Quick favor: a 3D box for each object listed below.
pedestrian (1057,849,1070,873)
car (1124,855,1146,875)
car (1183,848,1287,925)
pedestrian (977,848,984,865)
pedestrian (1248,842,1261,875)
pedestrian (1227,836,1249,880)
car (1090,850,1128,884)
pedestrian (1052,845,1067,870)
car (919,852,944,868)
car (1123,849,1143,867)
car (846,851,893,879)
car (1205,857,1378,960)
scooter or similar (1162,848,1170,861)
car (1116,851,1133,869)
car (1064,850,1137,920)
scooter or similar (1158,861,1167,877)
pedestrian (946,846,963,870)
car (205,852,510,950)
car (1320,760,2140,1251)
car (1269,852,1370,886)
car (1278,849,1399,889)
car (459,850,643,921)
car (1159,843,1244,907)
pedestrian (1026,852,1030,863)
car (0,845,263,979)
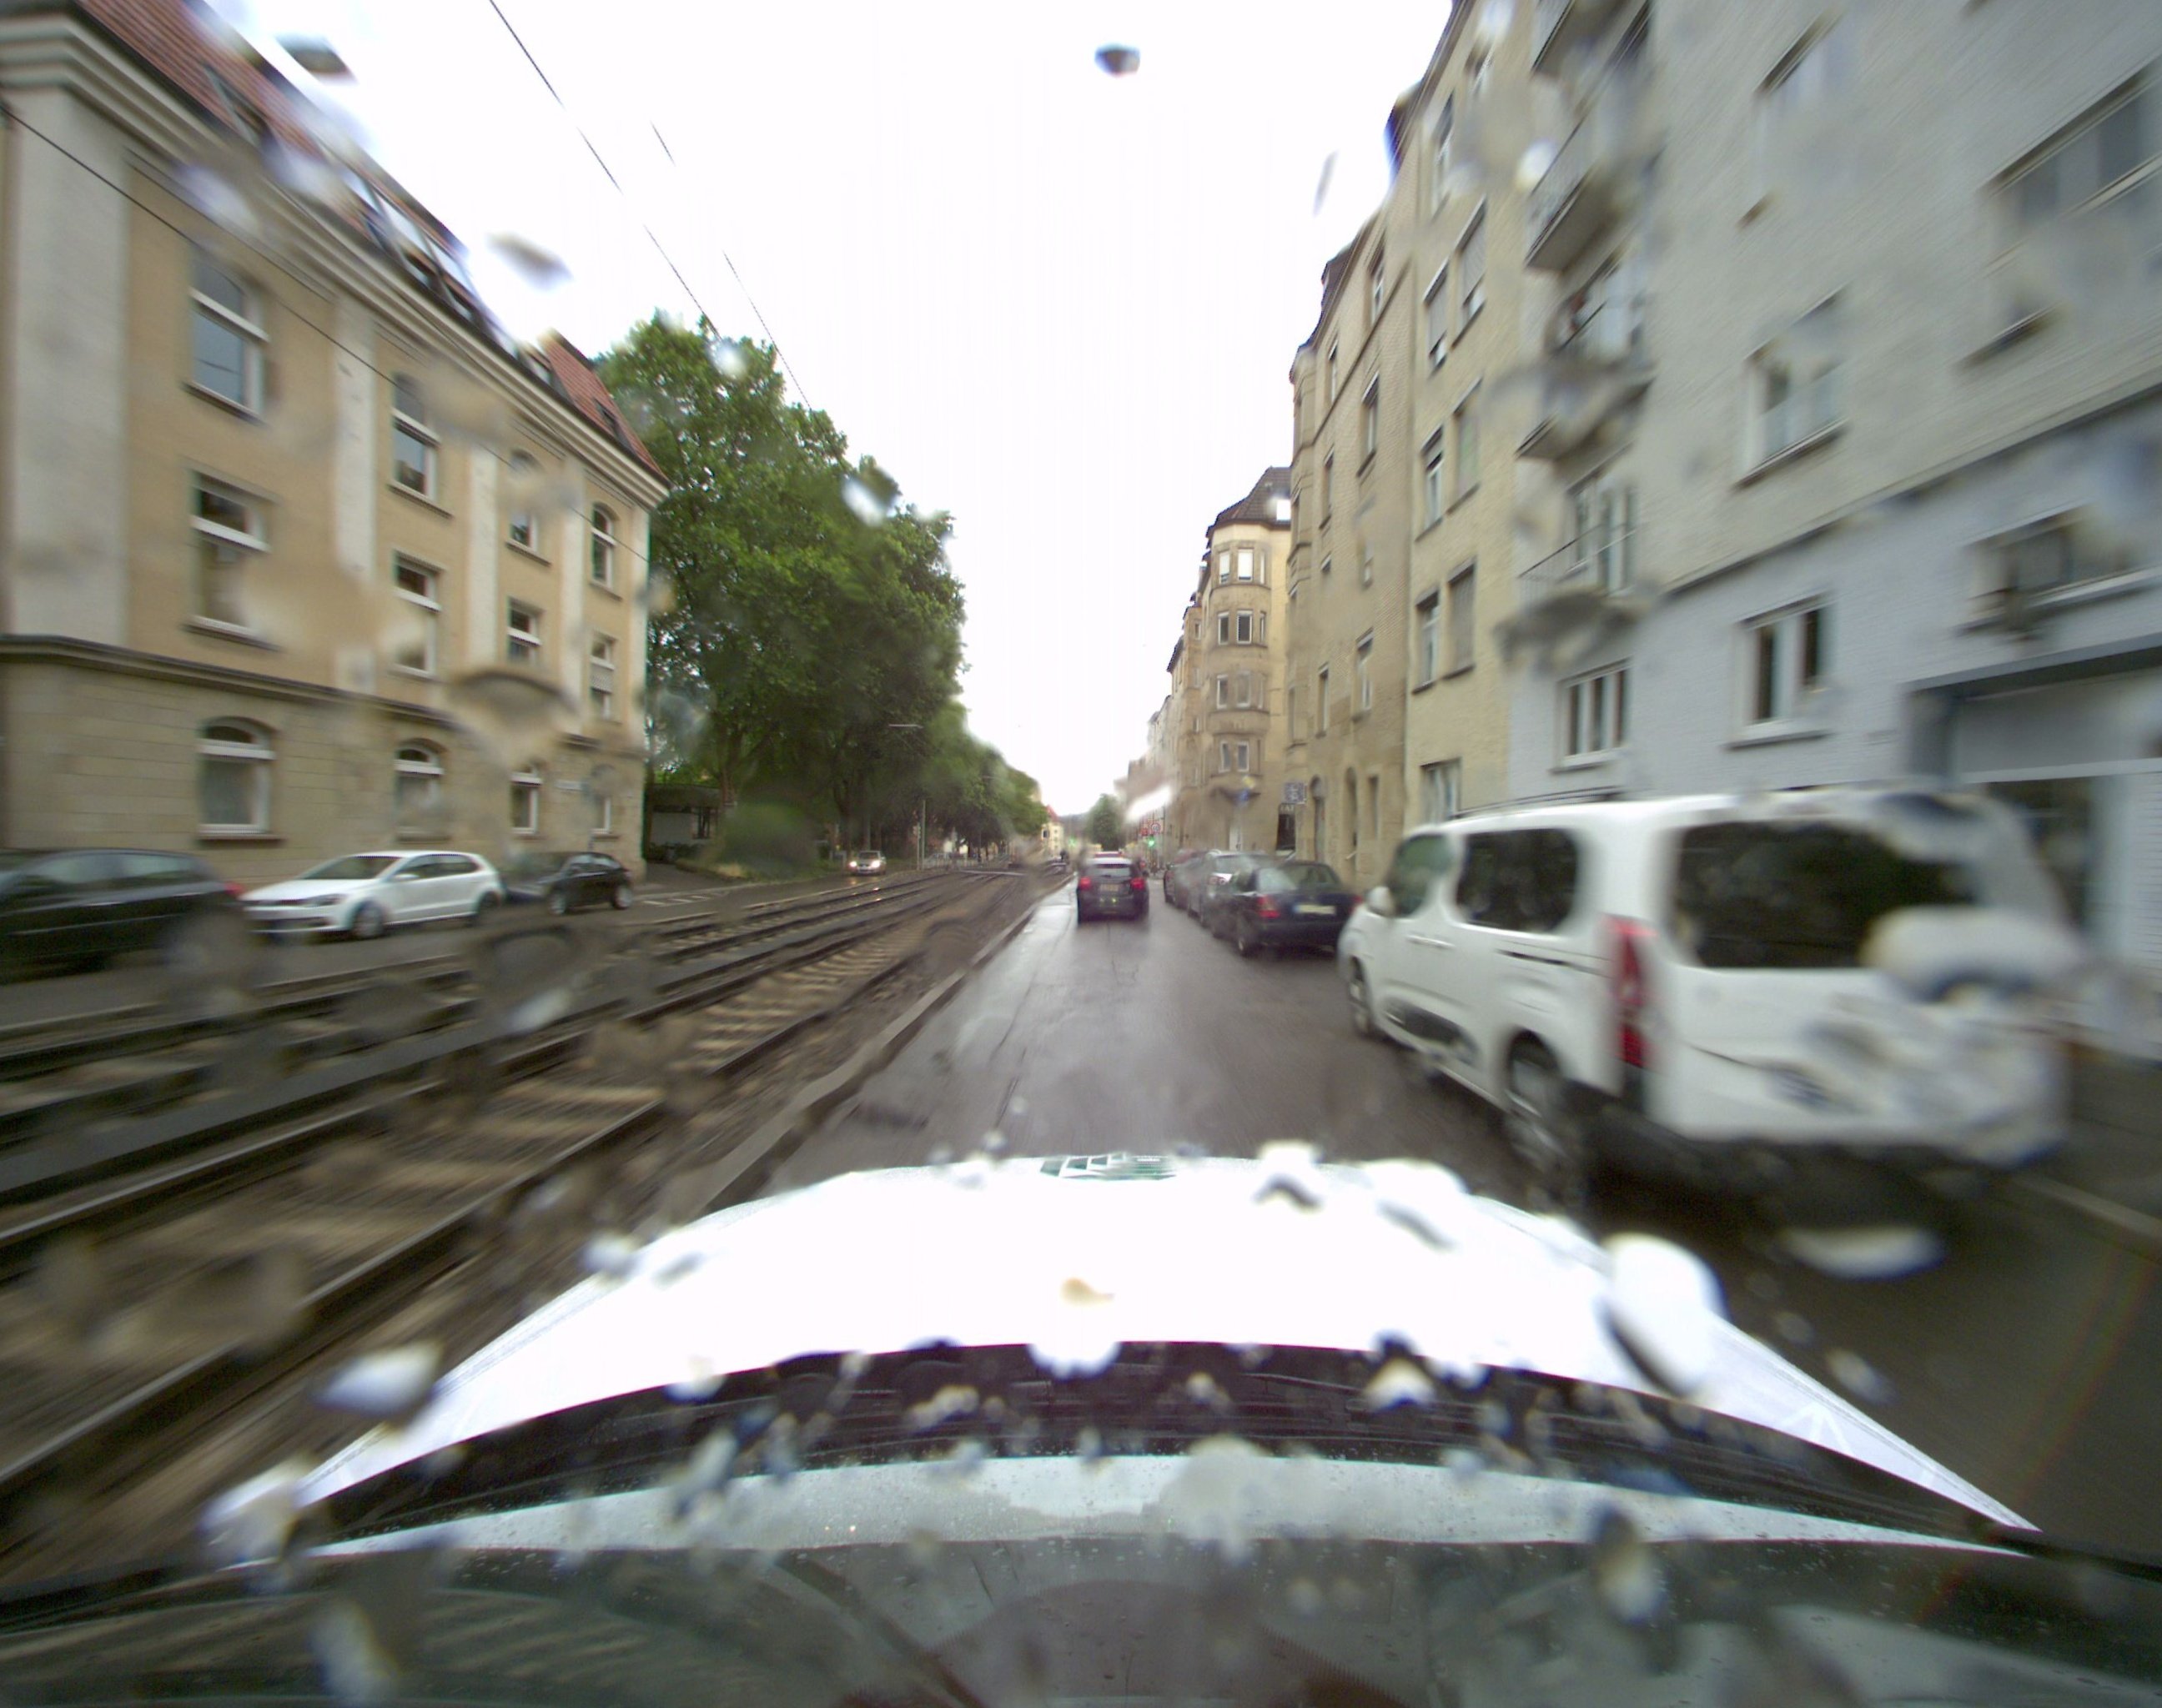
[{"bbox_3d":[-1.230,0.503,57.429,0.803,1.633,0.892,-2,0,2],"label":"pedestrian"},{"bbox_3d":[4.764,0.944,72.556,1.820,1.618,3.865,-2,0,1],"label":"car"},{"bbox_3d":[3.321,0.640,18.222,1.687,1.529,4.002,0,0,2],"label":"car"},{"bbox_3d":[-10.421,0.238,84.679,0.532,1.754,0.607,2,0,2],"label":"pedestrian"},{"bbox_3d":[9.037,0.233,42.399,0.545,1.688,0.627,-1,0,5],"label":"pedestrian"},{"bbox_3d":[6.593,0.164,34.232,0.692,1.787,0.758,-2,0,0],"label":"pedestrian"},{"bbox_3d":[1.379,0.604,40.155,1.779,1.581,4.001,0,0,1],"label":"car"},{"bbox_3d":[-1.780,0.305,67.696,1.135,1.998,1.171,-2,0,-3],"label":"pedestrian"},{"bbox_3d":[-14.009,0.529,76.554,1.653,1.497,3.786,0,0,1],"label":"car"},{"bbox_3d":[4.933,0.344,77.389,1.753,1.579,4.001,-2,0,1],"label":"car"},{"bbox_3d":[-12.215,0.597,47.289,1.814,1.505,4.626,0,0,-4],"label":"car"},{"bbox_3d":[3.169,0.739,13.182,1.711,1.347,4.462,1,0,1],"label":"car"},{"bbox_3d":[8.689,0.047,83.068,0.448,1.321,1.774,-2,0,-6],"label":"scooter or similar"},{"bbox_3d":[4.953,0.663,92.620,1.753,2.013,4.001,-2,0,1],"label":"car"},{"bbox_3d":[0.451,0.673,19.342,1.575,1.505,3.575,0,0,1],"label":"car"},{"bbox_3d":[6.880,1.241,68.835,0.447,1.321,1.776,-2,0,-1],"label":"scooter or similar"},{"bbox_3d":[-9.050,0.286,58.392,1.050,1.718,0.904,1,0,2],"label":"pedestrian"},{"bbox_3d":[-12.044,0.687,13.970,1.494,1.391,3.990,-2,0,3],"label":"car"},{"bbox_3d":[2.978,0.529,5.165,1.821,1.750,4.470,0,0,3],"label":"car"},{"bbox_3d":[11.320,0.709,38.937,4.318,1.531,1.893,-1,0,3],"label":"car"},{"bbox_3d":[10.468,0.582,33.368,4.430,1.484,1.866,-2,0,4],"label":"car"},{"bbox_3d":[-11.915,0.637,18.633,1.609,1.429,3.853,-1,1,1],"label":"car"},{"bbox_3d":[3.409,0.552,23.777,1.761,1.668,4.330,1,0,-1],"label":"car"},{"bbox_3d":[-8.650,0.563,132.279,0.516,1.717,0.551,2,0,1],"label":"pedestrian"},{"bbox_3d":[-12.237,0.635,9.263,1.668,1.413,4.012,-2,0,2],"label":"car"}]
